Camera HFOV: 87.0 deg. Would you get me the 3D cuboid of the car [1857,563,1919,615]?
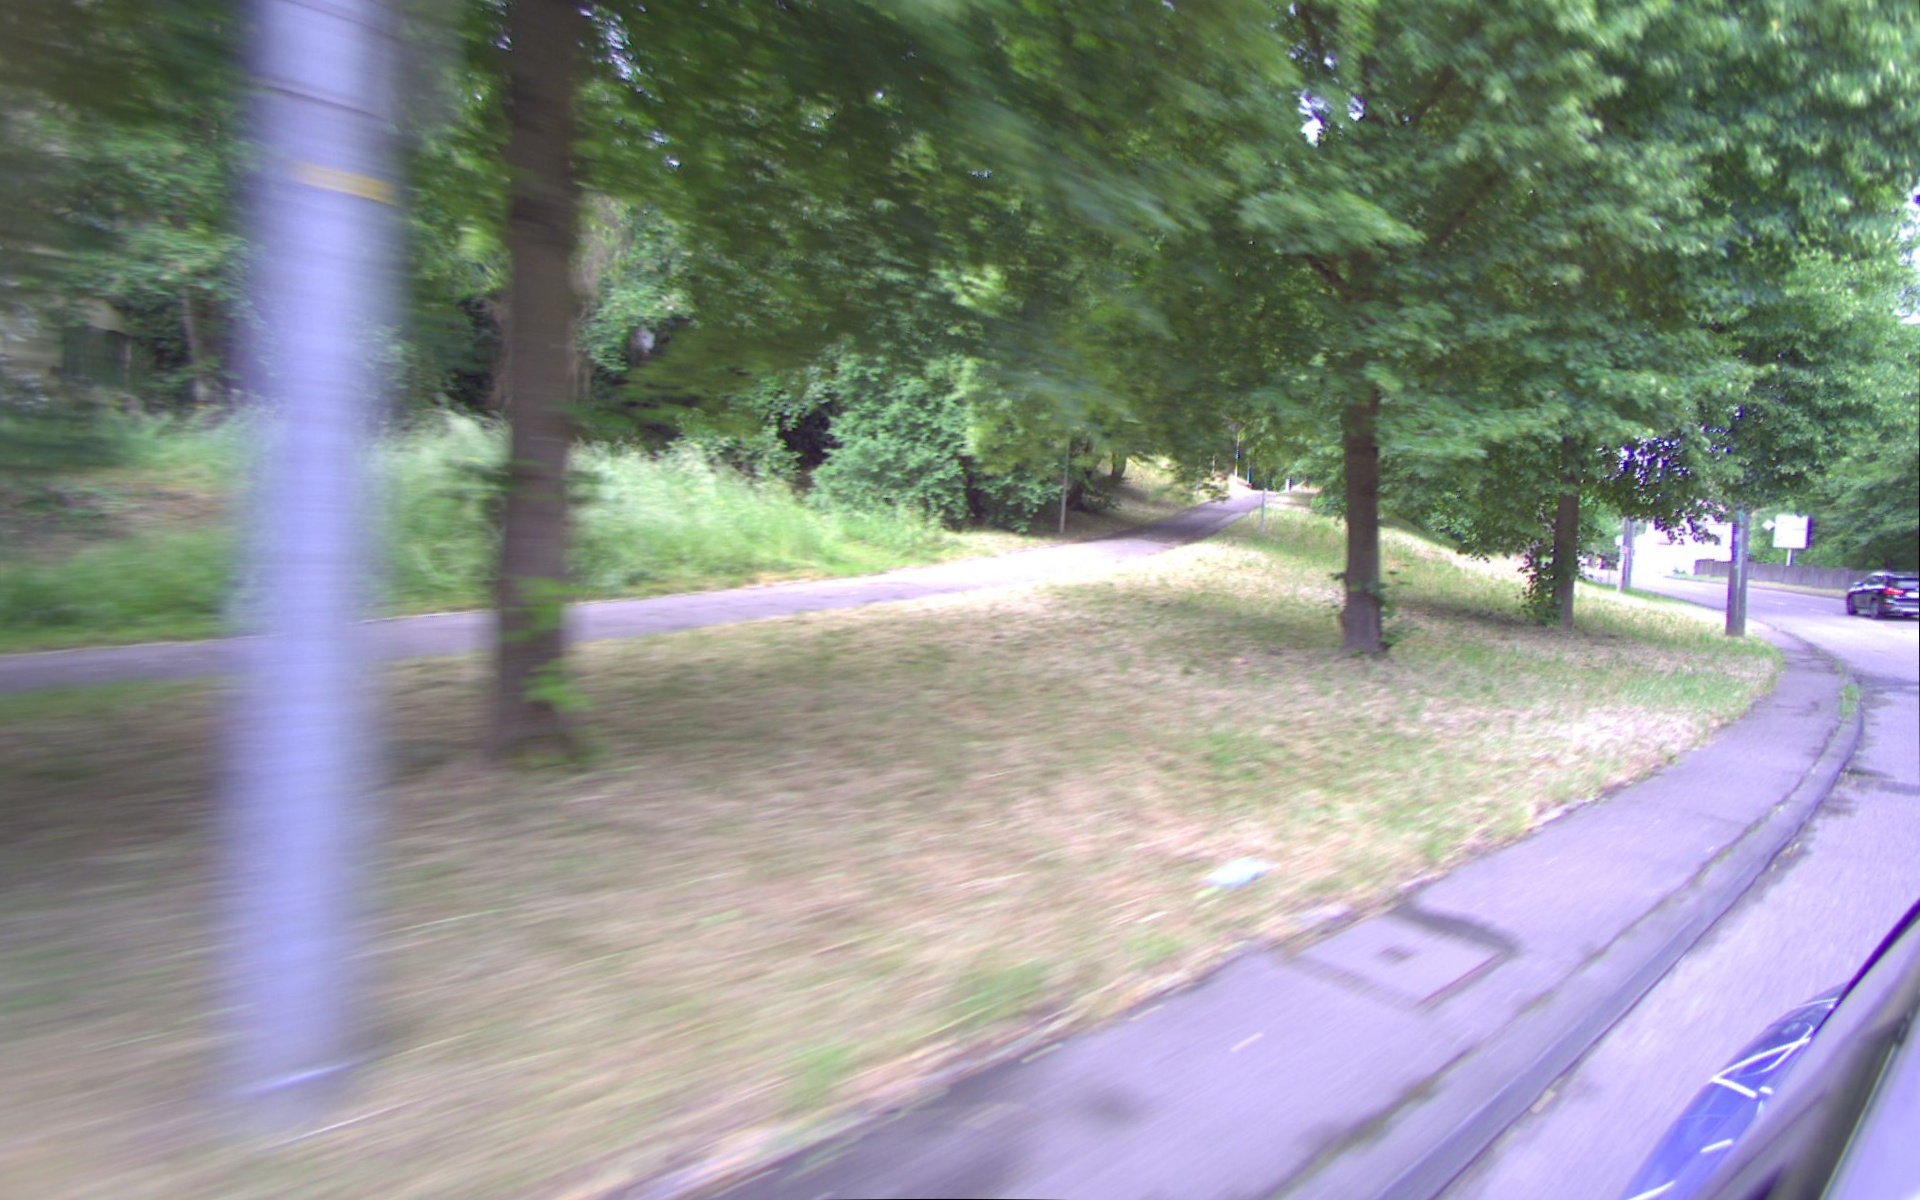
[{"bbox_3d":[32.124,-0.407,34.370,1.717,1.660,4.011,1,2,31],"label":"car"}]
